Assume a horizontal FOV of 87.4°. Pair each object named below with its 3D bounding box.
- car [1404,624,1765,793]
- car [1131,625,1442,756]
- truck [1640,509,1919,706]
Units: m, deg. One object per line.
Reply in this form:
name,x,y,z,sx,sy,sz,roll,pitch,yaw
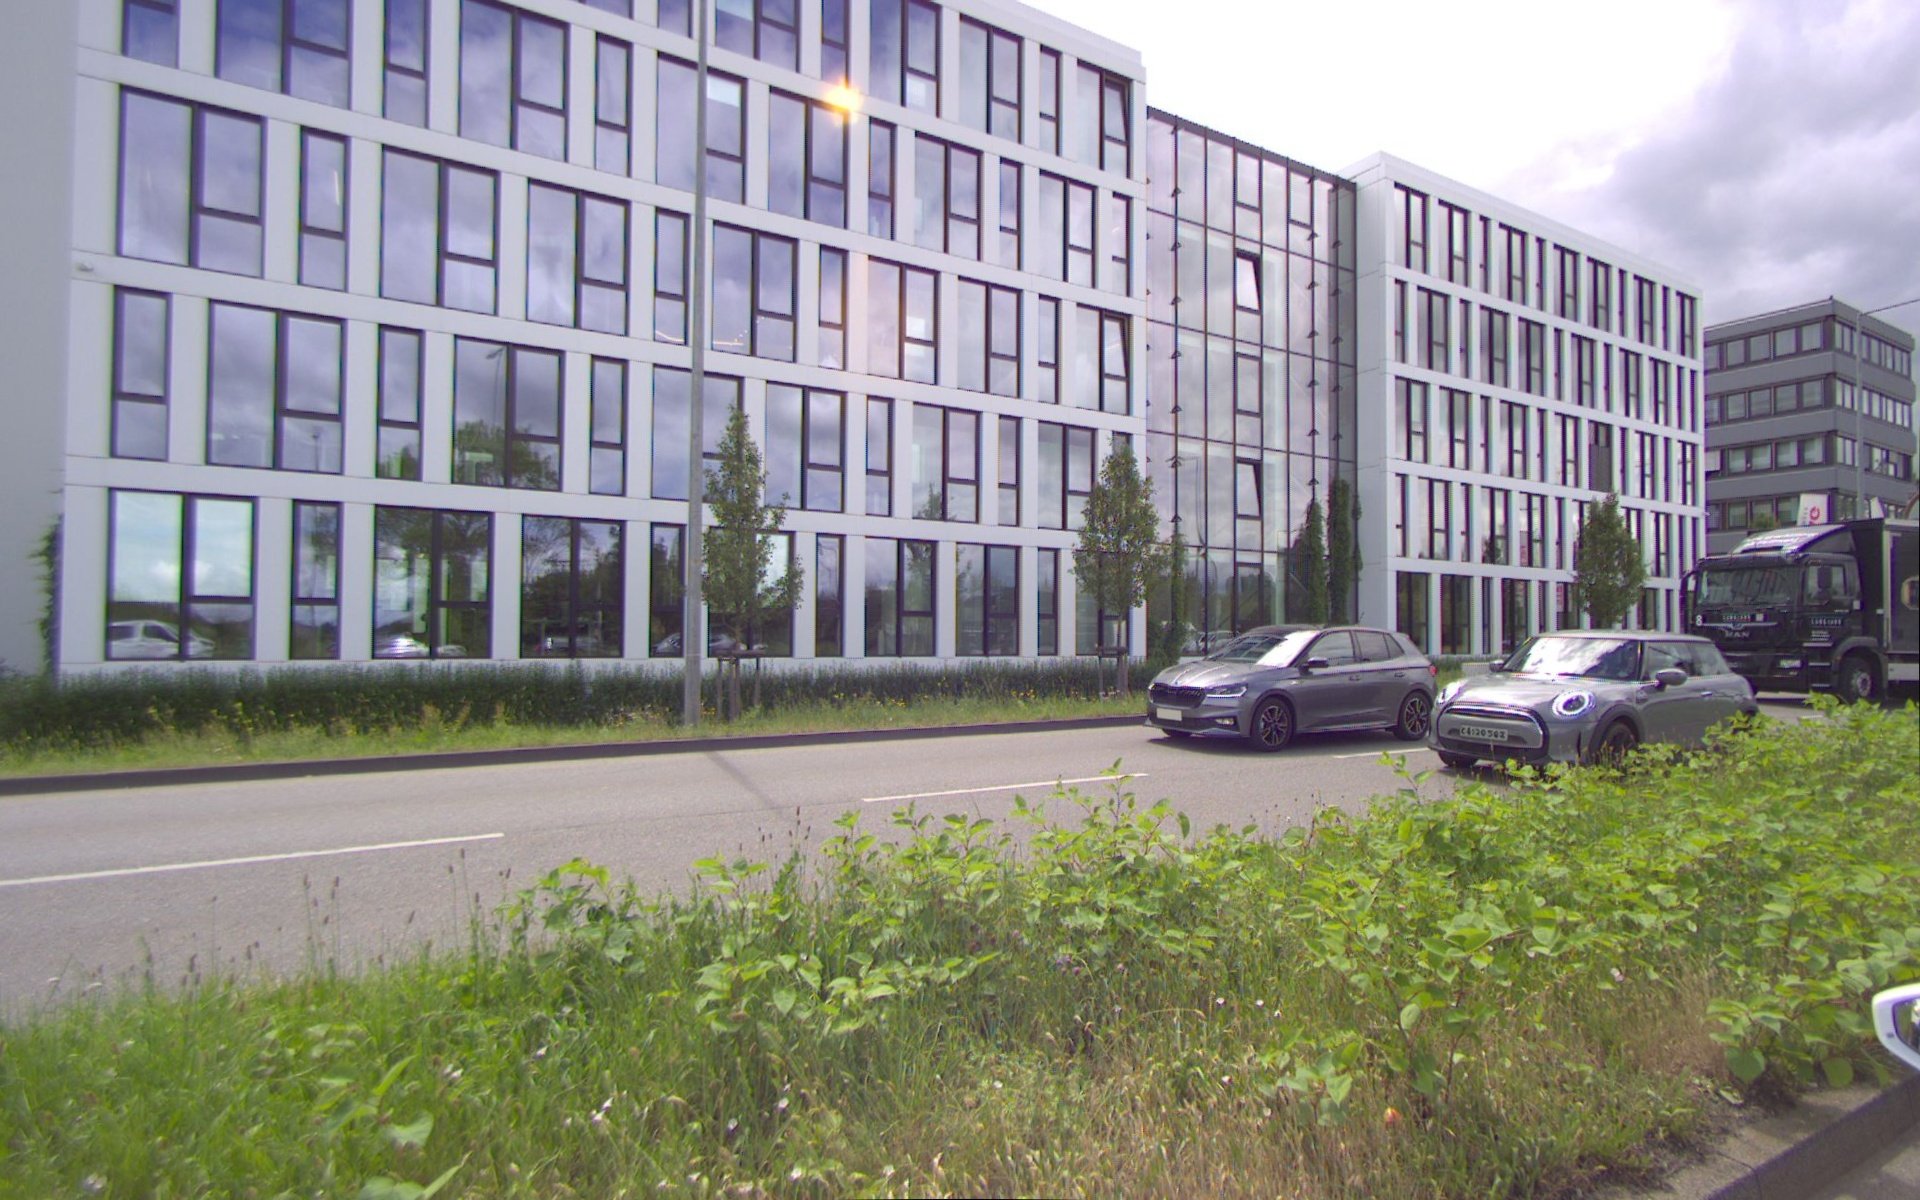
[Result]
car,6.436,0.992,10.300,3.593,1.449,1.681,1,-2,-30
car,4.087,1.021,12.462,3.733,1.401,1.547,1,-1,-29
truck,19.365,0.198,20.732,9.360,3.565,3.170,1,1,-12
